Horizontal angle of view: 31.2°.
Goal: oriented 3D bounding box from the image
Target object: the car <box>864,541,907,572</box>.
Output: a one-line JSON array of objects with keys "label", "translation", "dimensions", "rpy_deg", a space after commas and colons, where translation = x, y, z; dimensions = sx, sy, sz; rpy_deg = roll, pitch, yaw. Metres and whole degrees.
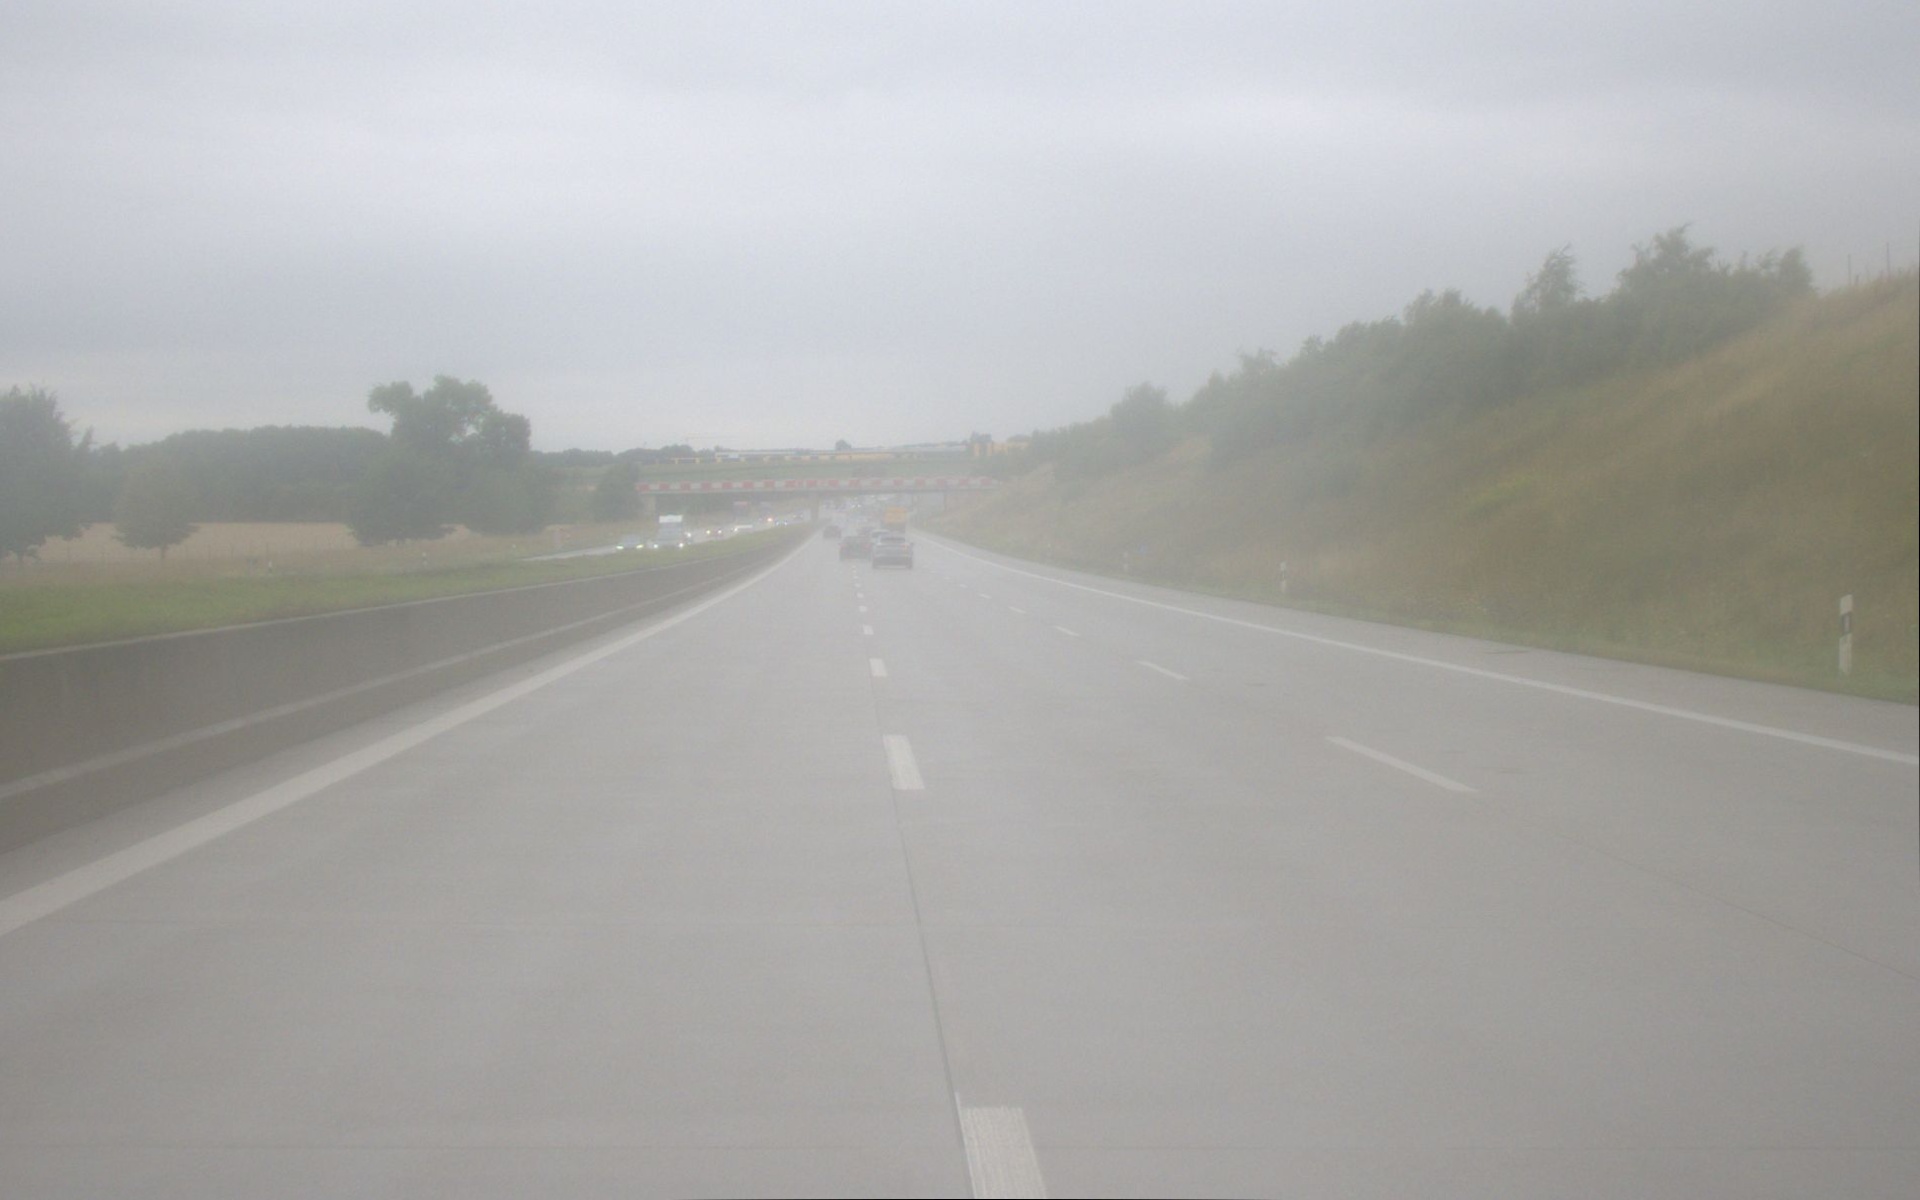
[{"label": "car", "translation": [-3.515, -2.049, 161.091], "dimensions": [1.847, 1.326, 4.431], "rpy_deg": [0, 3, -3]}]

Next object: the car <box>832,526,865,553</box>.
[{"label": "car", "translation": [-6.128, -3.317, 188.922], "dimensions": [1.729, 1.326, 4.430], "rpy_deg": [0, 3, -1]}]
